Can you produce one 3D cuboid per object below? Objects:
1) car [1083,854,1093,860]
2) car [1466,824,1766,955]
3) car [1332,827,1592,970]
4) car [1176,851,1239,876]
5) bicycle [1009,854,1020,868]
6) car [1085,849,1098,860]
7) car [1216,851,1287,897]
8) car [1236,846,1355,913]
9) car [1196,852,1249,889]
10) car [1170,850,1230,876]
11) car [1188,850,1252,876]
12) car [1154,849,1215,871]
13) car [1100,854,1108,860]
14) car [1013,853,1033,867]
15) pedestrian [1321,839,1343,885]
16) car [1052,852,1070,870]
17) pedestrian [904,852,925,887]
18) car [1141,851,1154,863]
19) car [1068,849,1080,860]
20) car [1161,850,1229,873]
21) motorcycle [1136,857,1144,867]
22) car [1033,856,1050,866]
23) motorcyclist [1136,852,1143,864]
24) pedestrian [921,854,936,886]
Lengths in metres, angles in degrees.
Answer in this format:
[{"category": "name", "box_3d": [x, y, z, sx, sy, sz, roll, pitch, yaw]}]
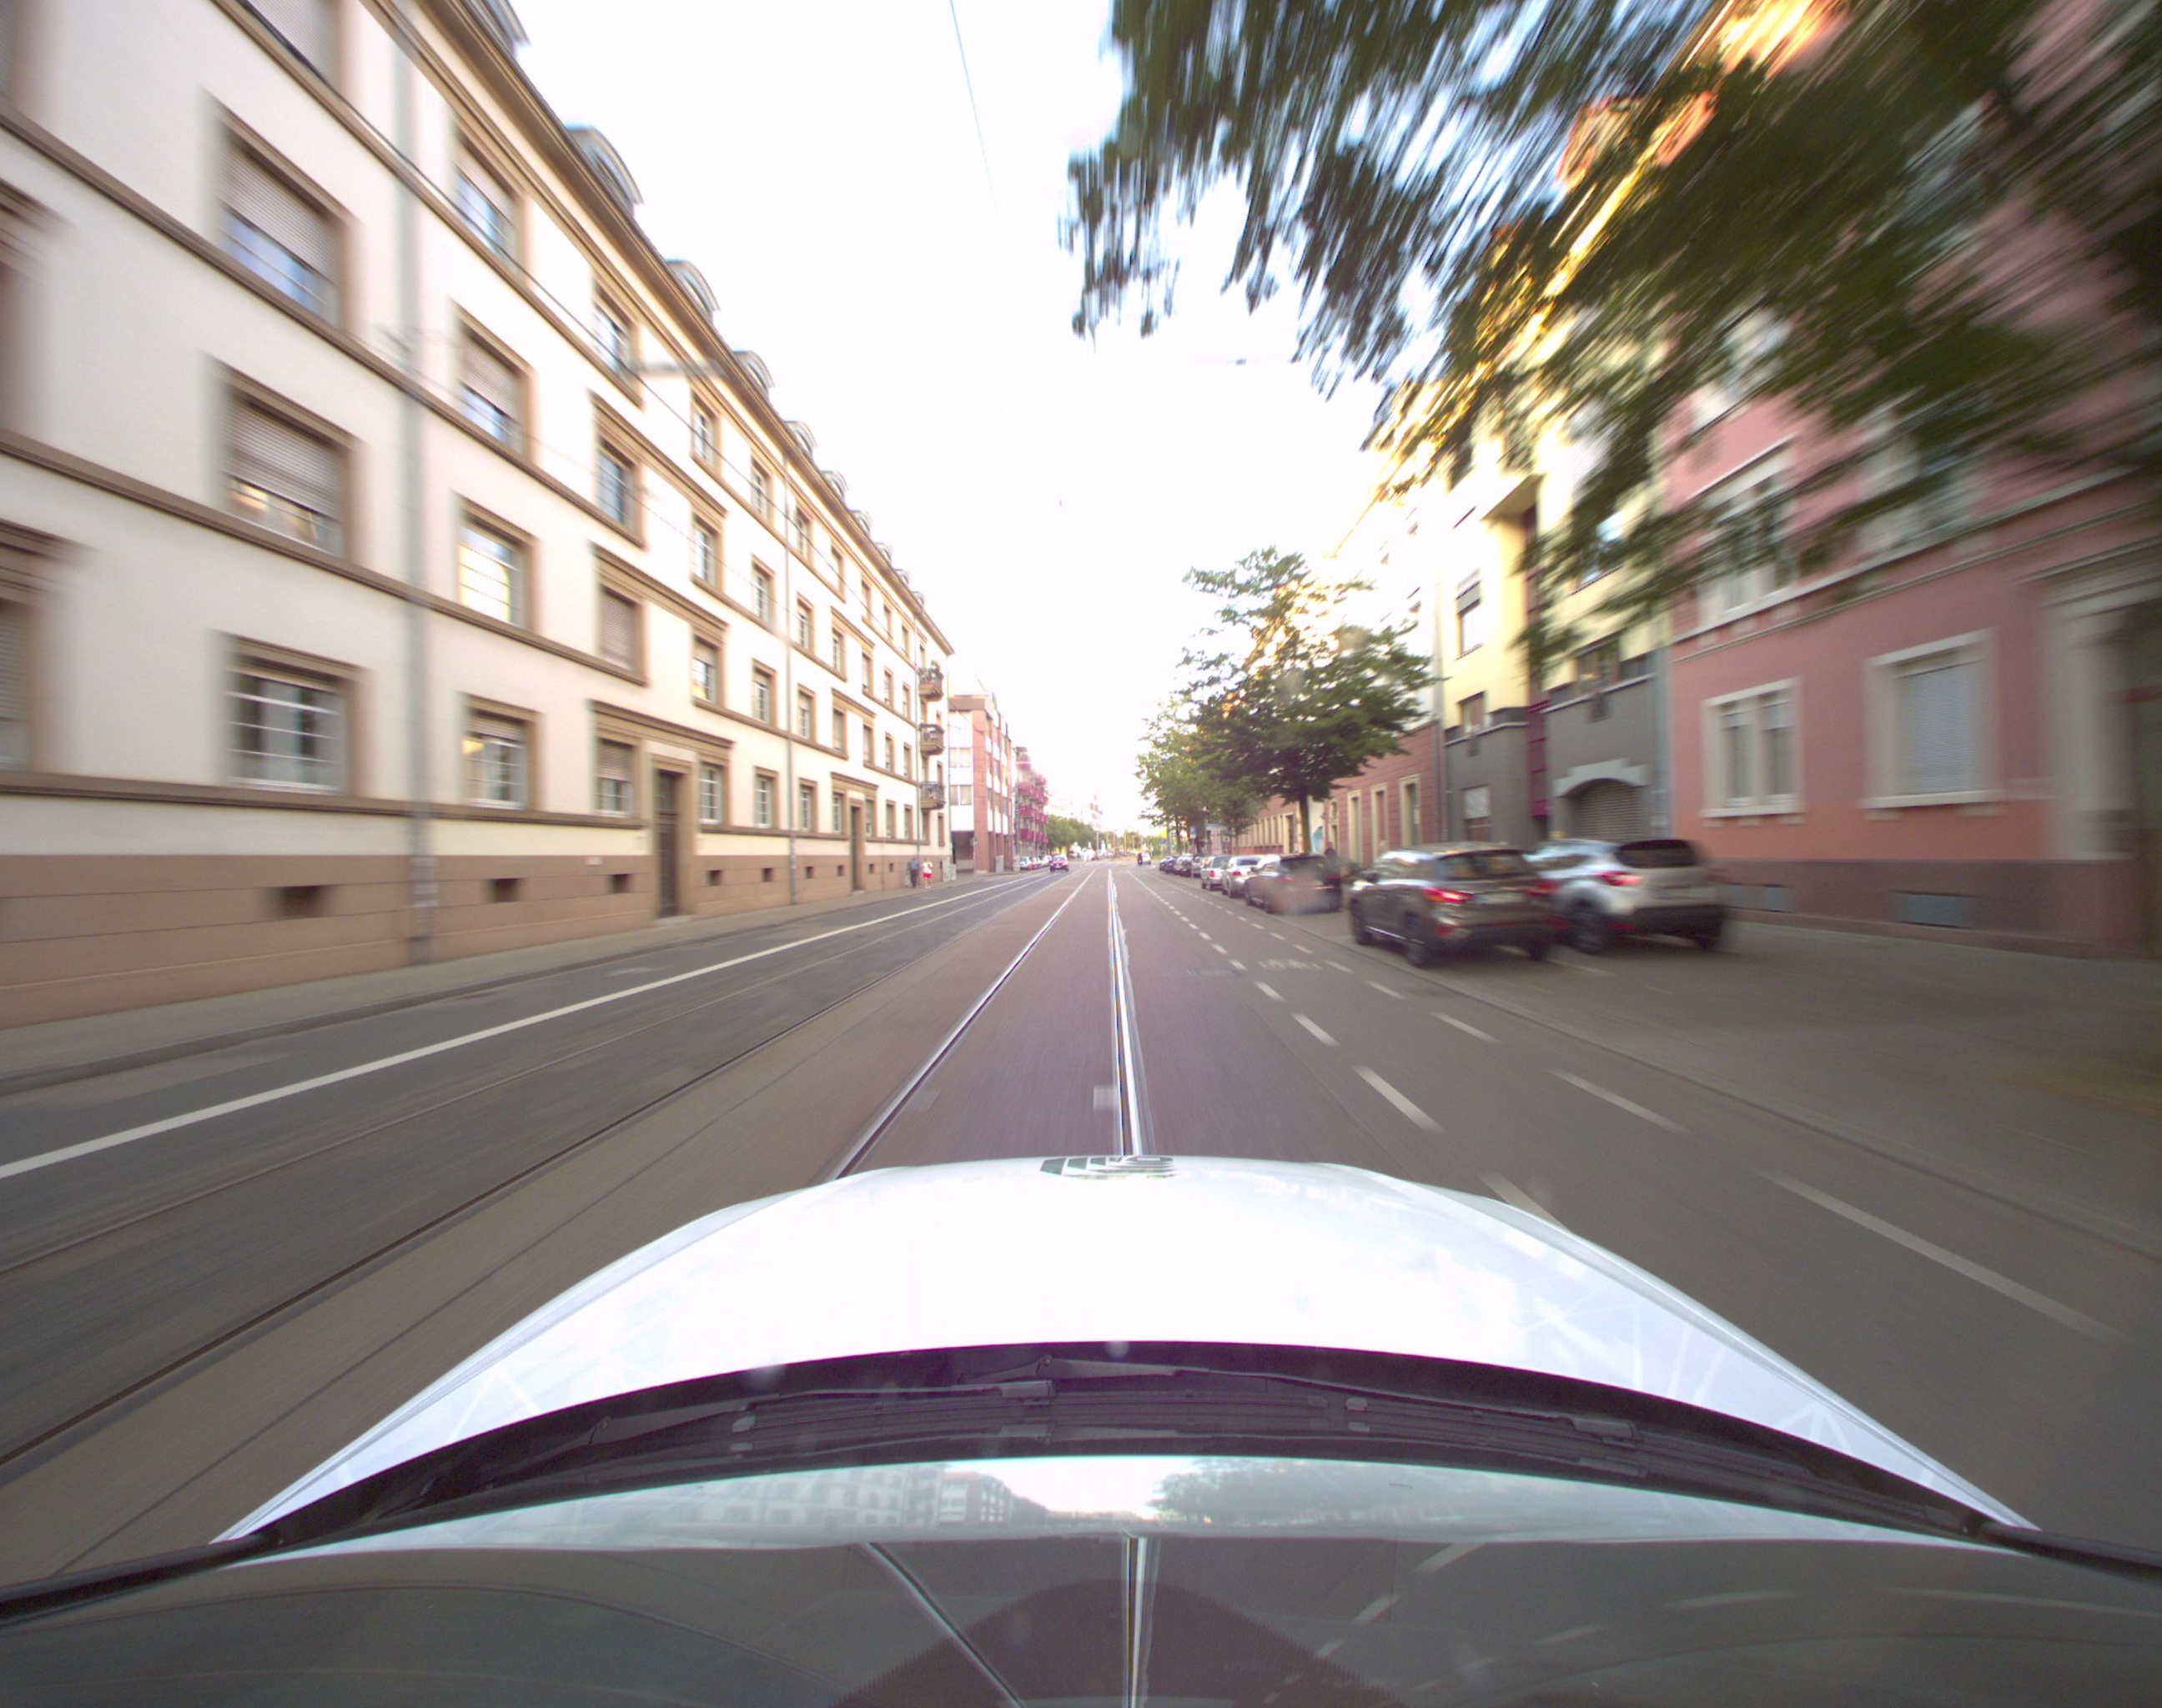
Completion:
[{"category": "car", "box_3d": [1.648, 0.746, 191.546, 1.673, 1.439, 4.136, -2, 0, 9]}, {"category": "car", "box_3d": [7.602, 0.442, 12.147, 1.873, 1.584, 4.021, -2, 0, 1]}, {"category": "car", "box_3d": [5.317, 0.543, 12.098, 1.873, 1.618, 4.263, -4, 0, 1]}, {"category": "car", "box_3d": [8.052, 0.597, 51.841, 3.571, 1.429, 1.656, -2, 0, -24]}, {"category": "bicycle", "box_3d": [-6.861, 0.735, 84.256, 0.605, 1.377, 2.264, -1, 0, 10]}, {"category": "car", "box_3d": [2.523, 0.153, 197.253, 2.449, 2.482, 5.817, -2, 0, 5]}, {"category": "car", "box_3d": [5.905, 0.655, 28.725, 1.772, 1.381, 4.696, -3, 0, 4]}, {"category": "car", "box_3d": [5.536, 0.603, 21.706, 1.986, 1.489, 5.038, -2, 0, 2]}, {"category": "car", "box_3d": [5.922, 0.679, 34.382, 1.613, 1.381, 3.777, -3, 0, 2]}, {"category": "car", "box_3d": [7.998, 0.586, 54.535, 3.571, 1.516, 1.730, -2, 0, -24]}, {"category": "car", "box_3d": [8.492, 0.572, 49.702, 3.491, 1.429, 1.611, -2, -2, -18]}, {"category": "car", "box_3d": [8.361, 0.487, 65.677, 4.625, 1.457, 1.697, -3, 0, -23]}, {"category": "car", "box_3d": [6.068, 0.813, 216.412, 1.673, 1.439, 4.136, -2, 0, 9]}, {"category": "car", "box_3d": [-6.270, 0.652, 88.855, 1.710, 1.555, 4.206, 0, 0, 2]}, {"category": "pedestrian", "box_3d": [9.984, 0.322, 32.447, 0.678, 1.816, 0.600, -1, 0, 2]}, {"category": "car", "box_3d": [-1.913, 0.658, 78.763, 1.554, 1.558, 3.755, -3, 0, 1]}, {"category": "pedestrian", "box_3d": [-8.393, 0.764, 41.016, 0.793, 1.701, 0.981, -1, 0, -1]}, {"category": "car", "box_3d": [9.289, 0.395, 114.214, 1.709, 1.555, 4.207, -1, 0, 3]}, {"category": "car", "box_3d": [-2.023, 0.176, 234.049, 2.188, 3.152, 6.160, -2, 0, 10]}, {"category": "car", "box_3d": [8.351, 0.549, 59.682, 4.461, 1.516, 2.048, -3, 0, -22]}, {"category": "motorcycle", "box_3d": [7.488, 1.042, 103.327, 0.824, 1.240, 2.495, -2, 0, 5]}, {"category": "car", "box_3d": [-5.305, 0.932, 109.244, 1.684, 1.414, 4.682, 0, 0, 4]}, {"category": "motorcyclist", "box_3d": [7.484, 0.489, 103.478, 0.824, 1.473, 1.208, -2, 0, 5]}, {"category": "pedestrian", "box_3d": [-7.680, 0.801, 41.033, 0.589, 1.609, 0.811, -1, 0, 0]}]
